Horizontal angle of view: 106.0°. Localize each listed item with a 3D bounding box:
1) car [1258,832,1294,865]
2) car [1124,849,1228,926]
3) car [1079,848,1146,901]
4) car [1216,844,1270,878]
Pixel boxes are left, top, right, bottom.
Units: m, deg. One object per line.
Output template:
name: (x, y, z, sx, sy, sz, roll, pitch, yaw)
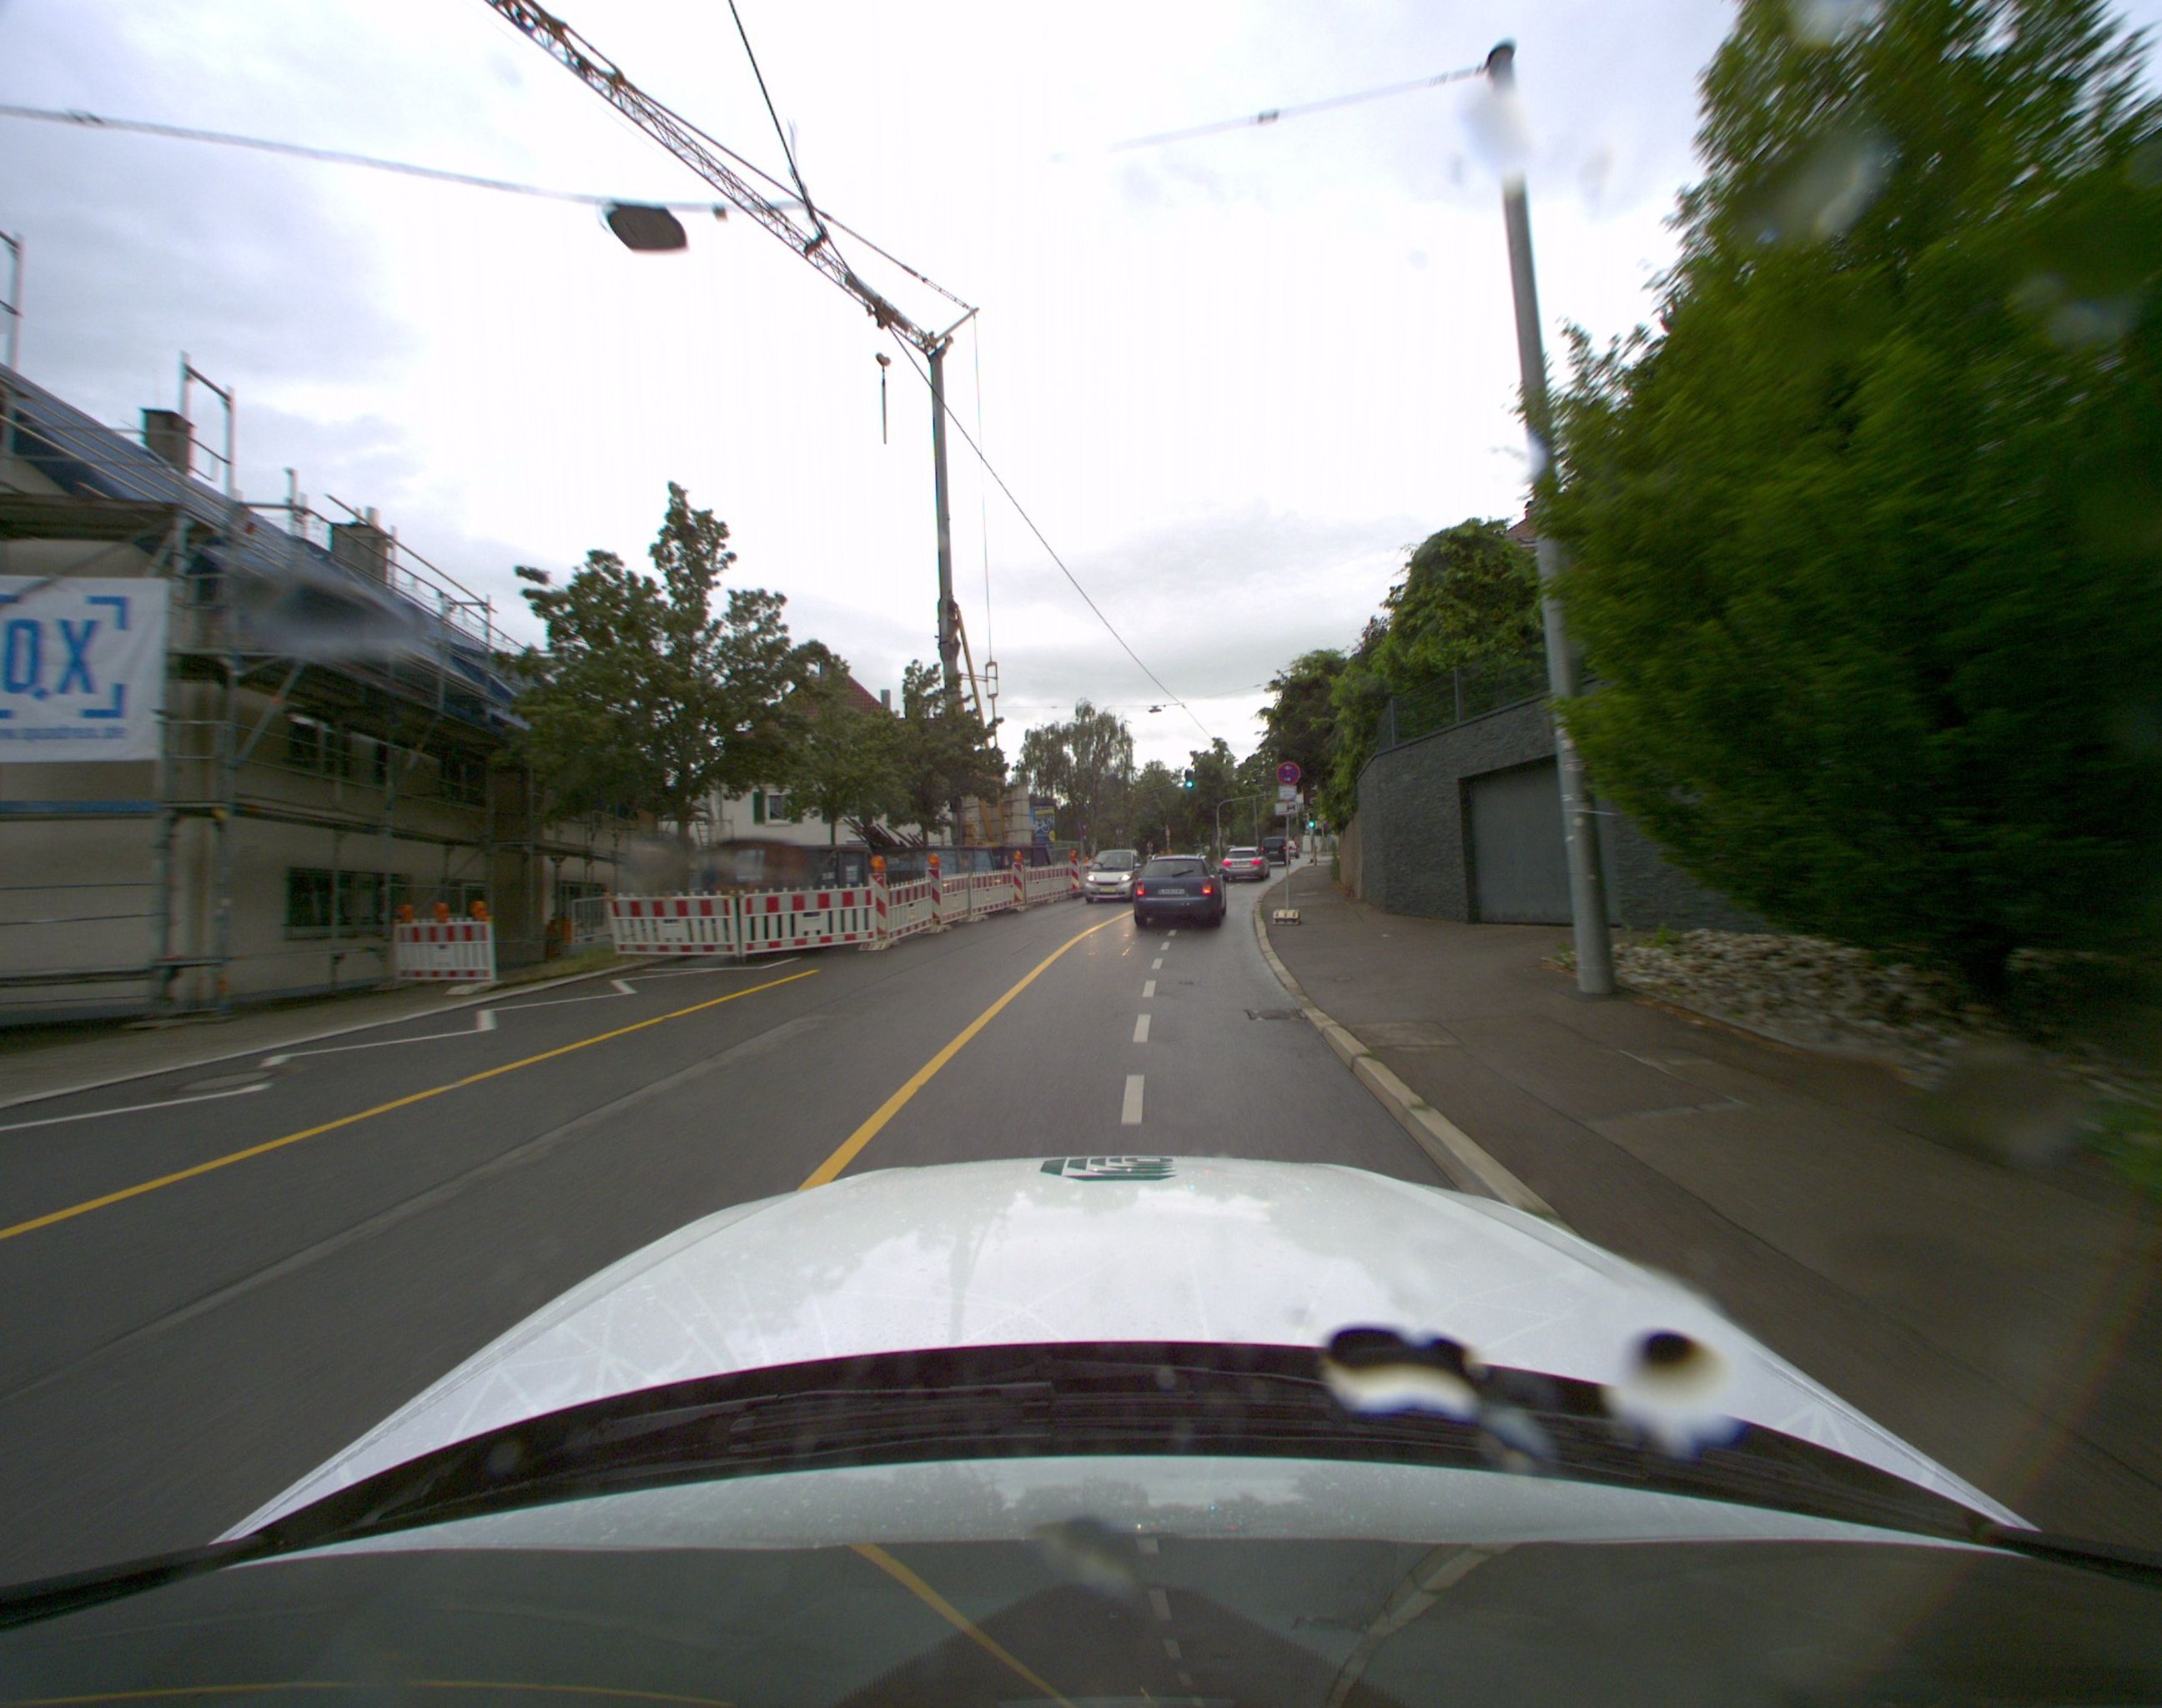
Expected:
car: (12.573, -0.402, 52.340, 1.716, 1.894, 4.075, -5, 0, 19)
car: (2.150, 0.640, 17.427, 1.765, 1.439, 4.014, -1, 0, 13)
car: (1.034, 0.593, 25.106, 1.445, 1.526, 2.934, -1, 0, 14)
car: (7.229, 0.298, 35.949, 1.894, 1.388, 4.369, -1, 0, 17)
